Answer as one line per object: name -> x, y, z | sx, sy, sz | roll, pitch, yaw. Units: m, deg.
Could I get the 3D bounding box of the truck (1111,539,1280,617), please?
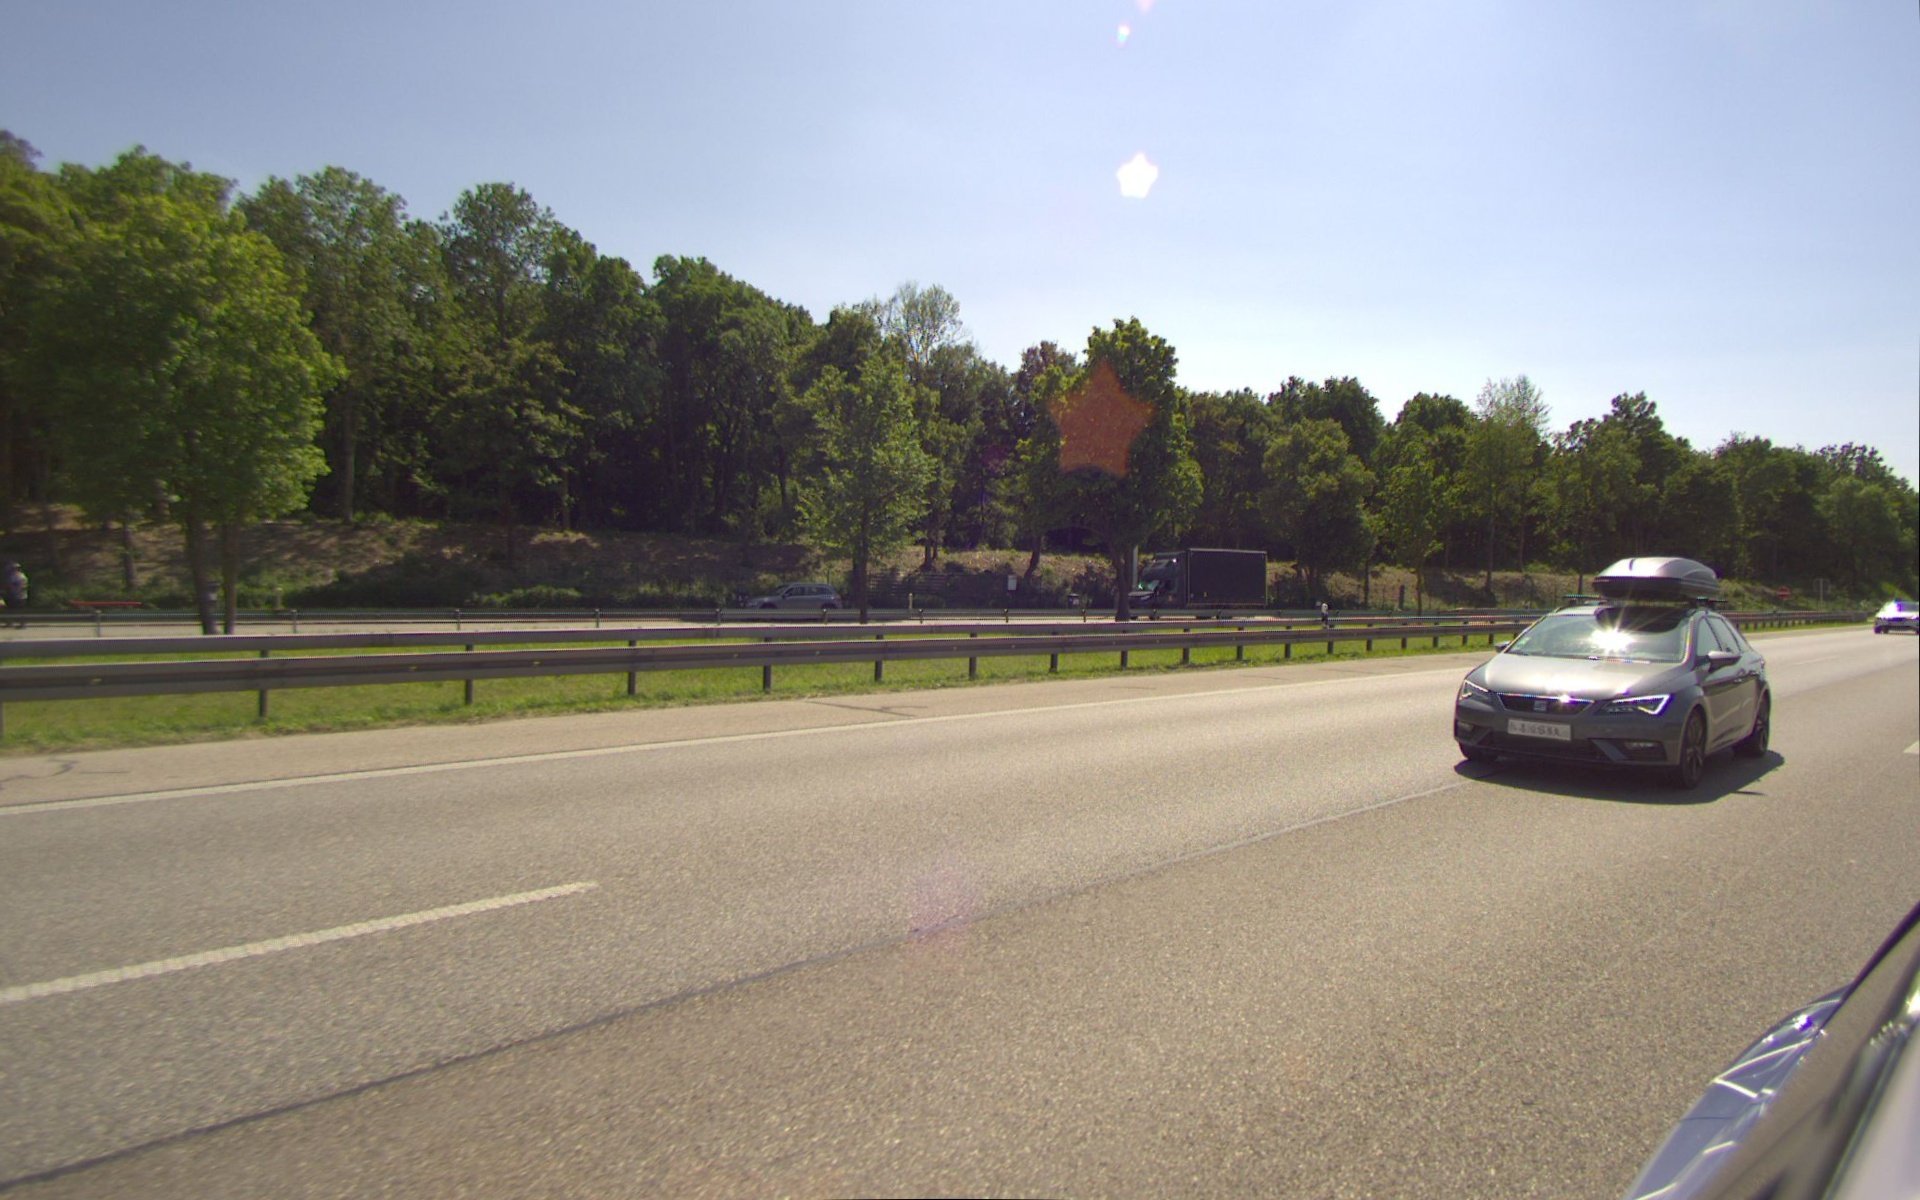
truck -> 13.032, -1.157, 55.718 | 9.162, 3.996, 3.301 | 1, 1, -30

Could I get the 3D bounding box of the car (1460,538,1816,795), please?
car -> 6.654, 0.463, 9.684 | 4.744, 1.899, 1.668 | 0, 2, -42

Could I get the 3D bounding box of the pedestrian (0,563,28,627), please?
pedestrian -> -27.252, -0.154, 28.968 | 0.629, 1.804, 0.802 | 1, 1, -27

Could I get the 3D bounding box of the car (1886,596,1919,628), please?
car -> 48.434, 0.589, 51.183 | 3.963, 1.588, 1.847 | 0, 0, -39

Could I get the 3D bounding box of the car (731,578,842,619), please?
car -> -7.445, -0.059, 43.547 | 4.232, 1.671, 2.002 | 1, 1, -32
